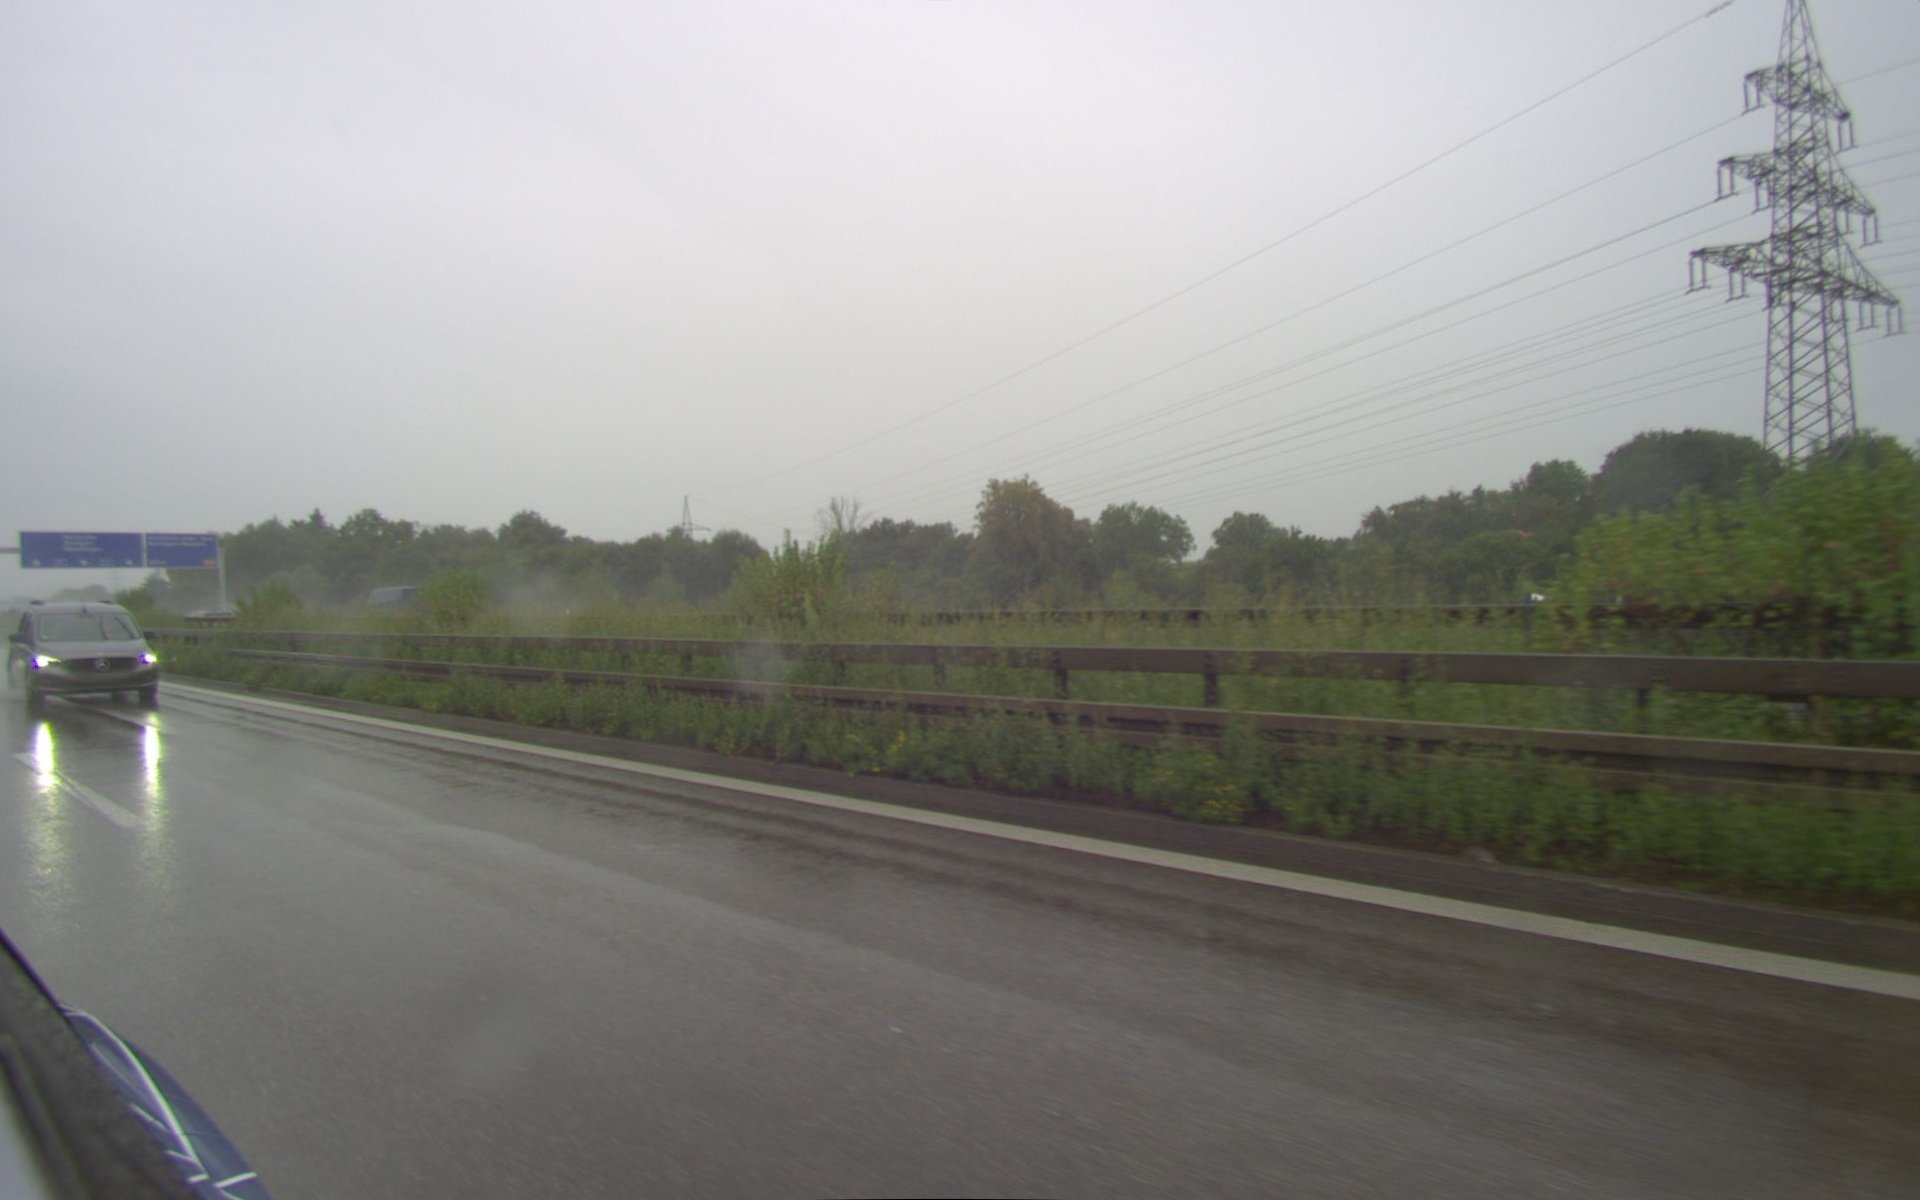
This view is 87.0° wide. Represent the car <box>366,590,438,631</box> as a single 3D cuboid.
[{"bbox_3d":[-29.736,0.582,53.887,4.834,2.028,1.801,-2,2,42],"label":"car"}]

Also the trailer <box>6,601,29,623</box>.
[{"bbox_3d":[-177.416,2.252,190.443,13.933,3.749,2.307,-2,2,44],"label":"trailer"}]

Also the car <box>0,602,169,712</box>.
[{"bbox_3d":[-16.434,0.991,18.697,4.497,1.787,2.021,-2,-2,41],"label":"car"}]
